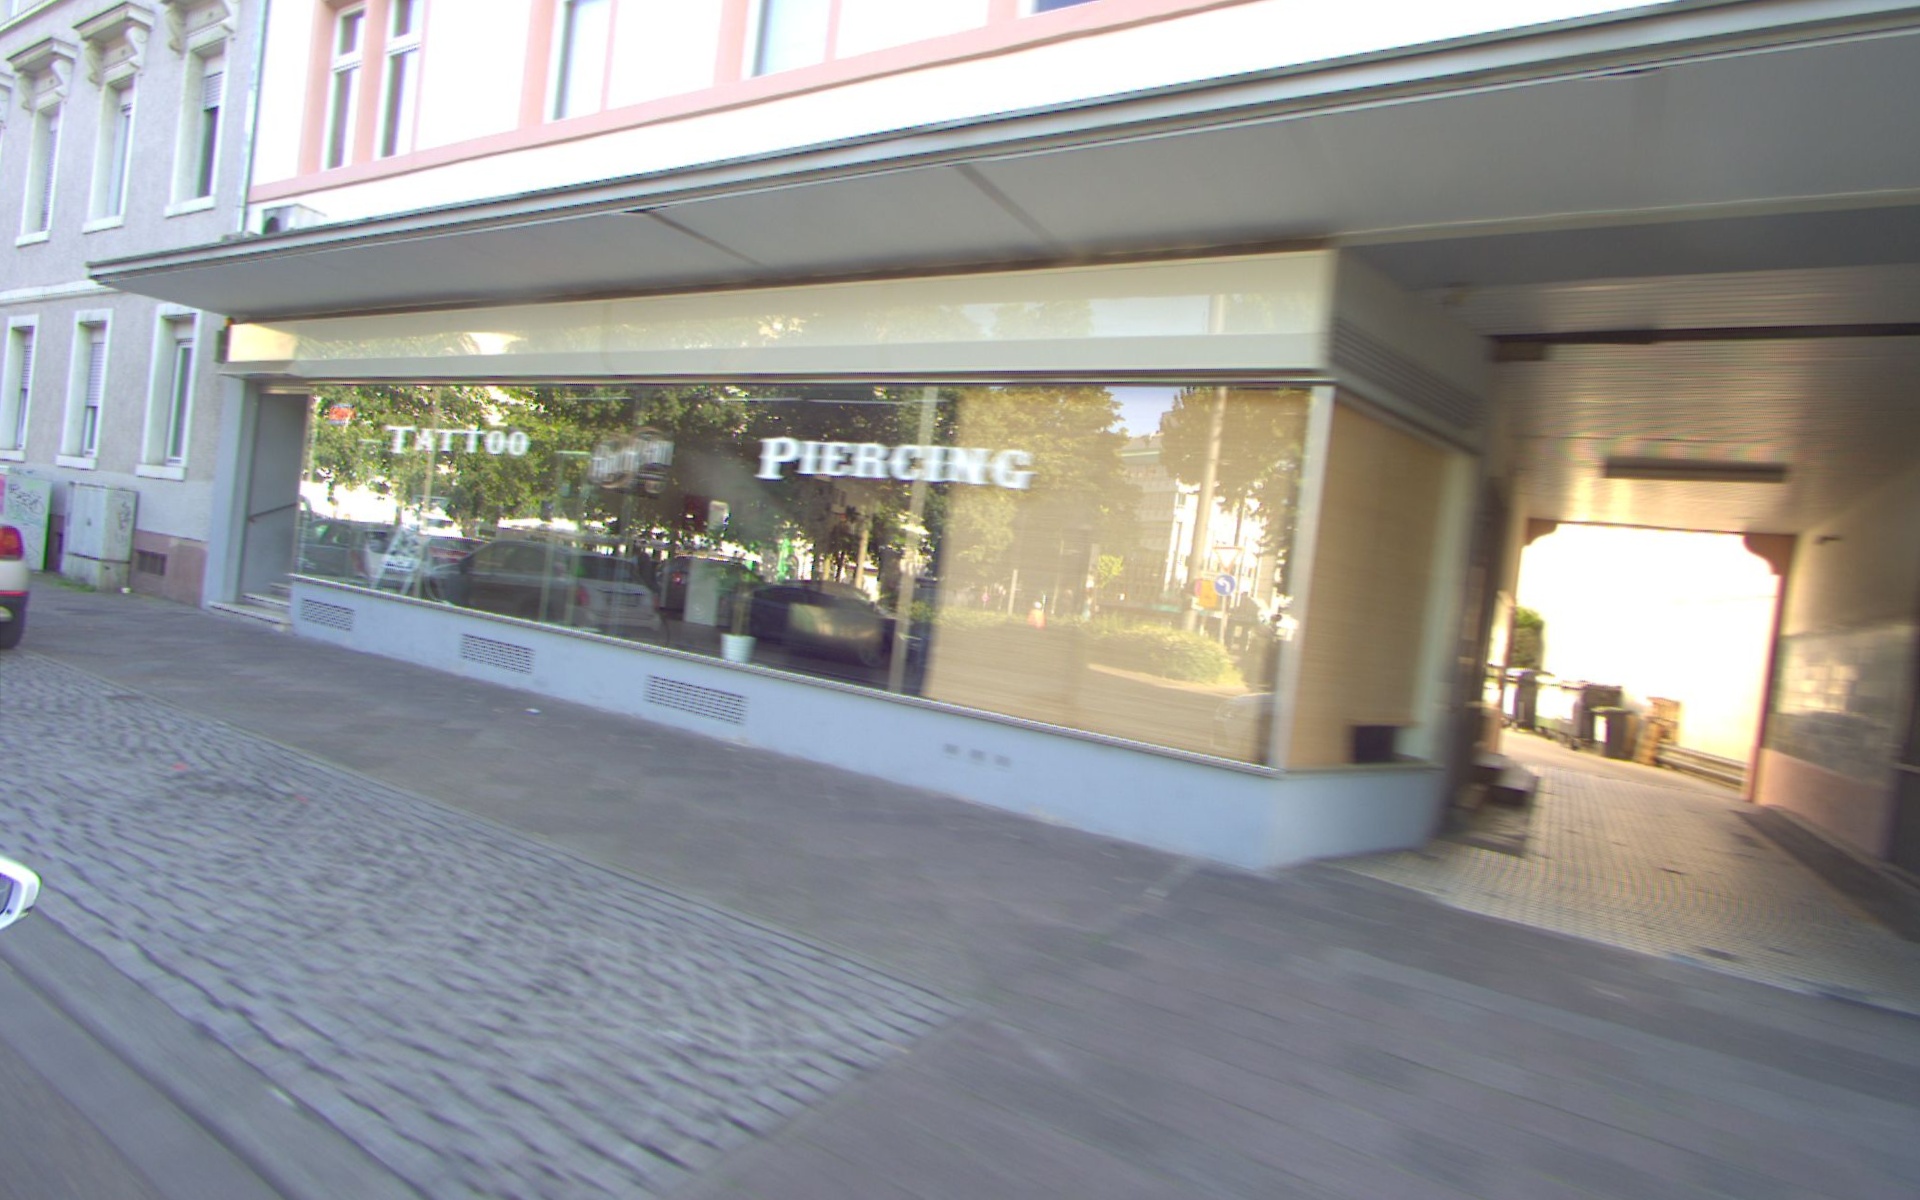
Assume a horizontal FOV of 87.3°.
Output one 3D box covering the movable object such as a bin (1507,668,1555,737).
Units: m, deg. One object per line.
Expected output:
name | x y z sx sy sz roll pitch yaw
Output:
movable object such as a bin | 13.027 2.328 22.962 0.719 1.444 0.573 7 -1 21

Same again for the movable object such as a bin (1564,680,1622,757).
movable object such as a bin | 12.078 2.246 19.207 0.719 1.345 0.507 7 -1 21

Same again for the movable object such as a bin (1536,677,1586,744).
movable object such as a bin | 12.929 2.365 21.660 0.719 1.345 0.573 7 -1 21

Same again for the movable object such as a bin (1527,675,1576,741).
movable object such as a bin | 13.099 2.375 22.306 0.719 1.345 0.573 7 -1 21

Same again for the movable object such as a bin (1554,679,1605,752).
movable object such as a bin | 12.278 2.280 19.953 0.653 1.345 0.507 7 -1 21

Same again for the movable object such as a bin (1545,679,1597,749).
movable object such as a bin | 12.778 2.369 21.066 0.719 1.345 0.507 7 -1 21

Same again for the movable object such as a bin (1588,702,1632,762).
movable object such as a bin | 11.944 2.416 18.502 0.512 1.012 0.393 7 -1 19

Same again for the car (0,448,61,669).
car | -10.068 -0.601 8.847 4.878 1.759 1.748 6 -1 31
